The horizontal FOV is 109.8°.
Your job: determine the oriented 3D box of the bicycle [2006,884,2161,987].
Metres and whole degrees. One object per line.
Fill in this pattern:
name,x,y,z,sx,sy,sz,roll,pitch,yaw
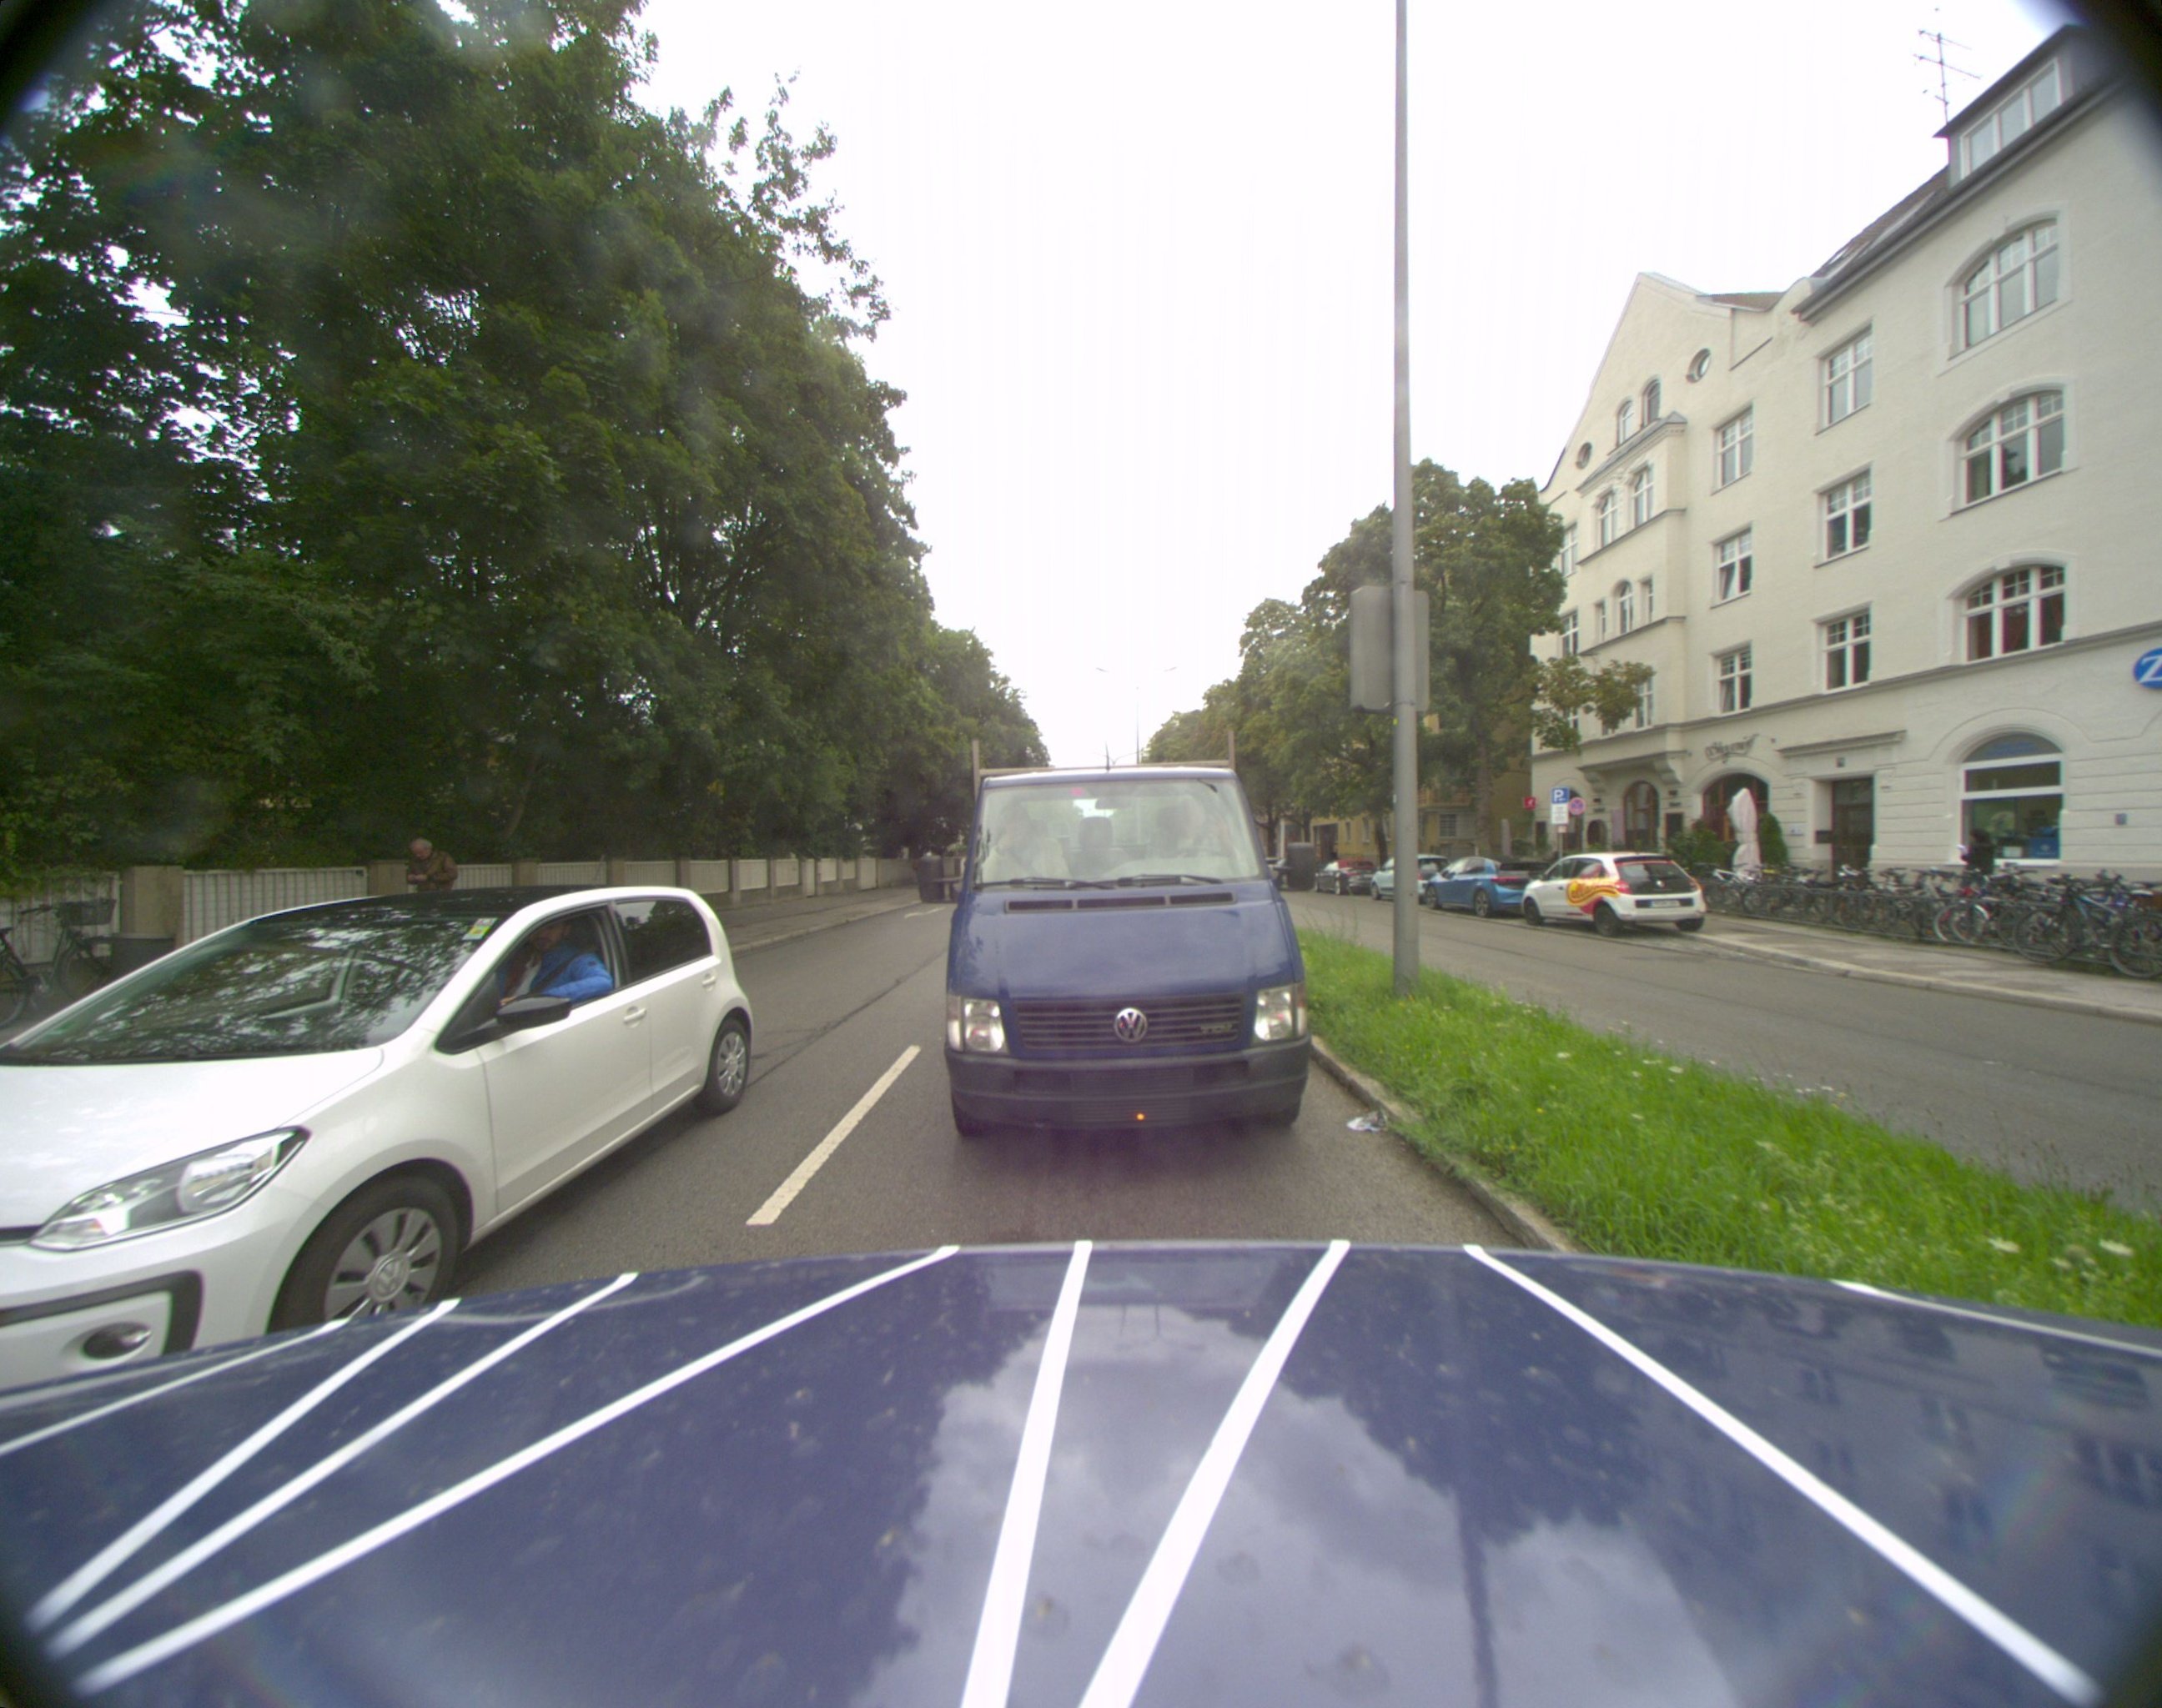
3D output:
bicycle,12.102,0.930,8.833,0.368,1.109,1.678,-1,0,-23

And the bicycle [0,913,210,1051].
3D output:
bicycle,-9.851,1.194,7.291,0.624,1.084,2.026,-1,0,0

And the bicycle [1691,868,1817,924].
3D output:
bicycle,14.488,0.880,16.429,0.505,1.109,1.984,-1,0,-31

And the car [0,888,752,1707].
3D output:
car,-3.011,1.021,3.227,1.647,1.553,3.586,-1,0,0

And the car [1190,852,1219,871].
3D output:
car,11.292,0.661,69.707,1.883,1.636,4.770,-1,0,1

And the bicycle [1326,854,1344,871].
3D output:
bicycle,19.325,0.627,57.886,0.771,1.215,1.930,-1,0,0

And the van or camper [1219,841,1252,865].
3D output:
van or camper,17.204,-0.138,84.856,2.351,2.564,6.851,-1,0,1

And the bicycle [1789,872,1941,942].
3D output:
bicycle,13.817,0.895,13.467,0.331,1.109,1.871,-1,0,-23

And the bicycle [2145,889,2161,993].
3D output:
bicycle,12.093,0.940,7.586,0.331,1.109,1.678,-1,0,-23

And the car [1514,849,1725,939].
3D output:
car,10.558,0.698,15.273,1.653,1.576,3.790,-1,0,2

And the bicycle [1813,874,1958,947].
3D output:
bicycle,13.600,0.923,12.904,0.331,1.109,1.678,-1,0,-23

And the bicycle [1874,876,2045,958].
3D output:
bicycle,13.223,0.910,11.504,0.331,1.109,1.678,-1,0,-23

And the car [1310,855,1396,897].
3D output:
car,10.771,0.804,30.466,1.815,1.498,4.645,-1,0,1

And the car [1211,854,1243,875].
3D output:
car,11.374,0.779,59.454,1.731,1.552,4.057,-1,0,1

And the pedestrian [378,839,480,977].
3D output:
pedestrian,-9.431,0.752,11.024,0.779,1.931,0.802,0,1,1

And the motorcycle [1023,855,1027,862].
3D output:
motorcycle,-8.927,0.707,121.523,0.497,1.135,1.631,-1,0,-10

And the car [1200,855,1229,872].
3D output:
car,11.191,0.773,63.931,1.731,1.398,4.363,-1,0,1

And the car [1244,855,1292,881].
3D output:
car,10.980,0.797,44.885,1.731,1.394,4.404,-1,0,1

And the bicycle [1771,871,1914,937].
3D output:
bicycle,14.004,0.879,14.045,0.331,1.109,1.871,-1,0,-23

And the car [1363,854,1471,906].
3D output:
car,10.857,0.781,24.846,1.815,1.498,3.960,-1,0,1

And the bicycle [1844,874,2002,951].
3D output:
bicycle,13.443,0.895,12.195,0.331,1.109,1.678,-1,0,-23

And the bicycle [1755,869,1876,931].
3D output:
bicycle,14.208,0.861,14.748,0.331,1.109,1.677,-1,0,-27

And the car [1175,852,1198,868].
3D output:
car,11.215,0.618,80.903,1.878,1.677,4.438,-1,0,1

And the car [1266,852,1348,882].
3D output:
car,12.286,0.680,41.378,3.899,1.455,1.732,-2,0,-1

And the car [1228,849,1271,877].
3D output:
car,11.152,0.553,50.586,1.815,1.718,4.767,-1,0,1

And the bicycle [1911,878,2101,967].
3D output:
bicycle,13.044,0.926,10.786,0.383,1.109,1.678,-1,0,-23

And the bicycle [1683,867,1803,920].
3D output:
bicycle,14.740,0.847,16.978,0.460,1.109,1.961,-1,0,-31

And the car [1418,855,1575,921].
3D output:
car,10.699,0.799,19.975,1.815,1.498,4.291,-1,0,1

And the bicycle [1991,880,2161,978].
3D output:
bicycle,12.695,0.906,9.482,0.367,1.109,1.678,-1,0,-23

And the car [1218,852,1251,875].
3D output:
car,11.074,0.677,54.952,1.731,1.549,3.009,-1,0,-1

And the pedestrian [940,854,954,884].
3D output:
pedestrian,-7.591,0.849,43.031,0.668,1.695,0.766,1,1,0

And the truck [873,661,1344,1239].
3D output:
truck,0.159,0.416,5.859,1.998,2.475,5.151,-1,0,1

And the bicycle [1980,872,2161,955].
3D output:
bicycle,14.767,0.841,11.361,0.331,1.109,1.678,-1,0,-23

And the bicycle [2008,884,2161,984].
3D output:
bicycle,12.425,0.942,9.084,0.331,1.109,1.678,-1,0,-23

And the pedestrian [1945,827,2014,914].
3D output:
pedestrian,17.172,0.312,14.539,0.422,1.622,0.783,-1,1,7

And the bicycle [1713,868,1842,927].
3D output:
bicycle,14.206,0.857,15.555,0.550,1.109,1.877,-1,0,-31

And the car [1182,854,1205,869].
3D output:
car,11.201,0.732,75.716,1.696,1.446,4.492,-1,0,1

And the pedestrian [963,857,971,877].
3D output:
pedestrian,-8.992,1.016,59.833,0.529,1.572,0.729,1,1,0

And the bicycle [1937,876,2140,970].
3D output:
bicycle,12.838,0.882,10.258,0.331,1.109,1.678,-1,0,-23
